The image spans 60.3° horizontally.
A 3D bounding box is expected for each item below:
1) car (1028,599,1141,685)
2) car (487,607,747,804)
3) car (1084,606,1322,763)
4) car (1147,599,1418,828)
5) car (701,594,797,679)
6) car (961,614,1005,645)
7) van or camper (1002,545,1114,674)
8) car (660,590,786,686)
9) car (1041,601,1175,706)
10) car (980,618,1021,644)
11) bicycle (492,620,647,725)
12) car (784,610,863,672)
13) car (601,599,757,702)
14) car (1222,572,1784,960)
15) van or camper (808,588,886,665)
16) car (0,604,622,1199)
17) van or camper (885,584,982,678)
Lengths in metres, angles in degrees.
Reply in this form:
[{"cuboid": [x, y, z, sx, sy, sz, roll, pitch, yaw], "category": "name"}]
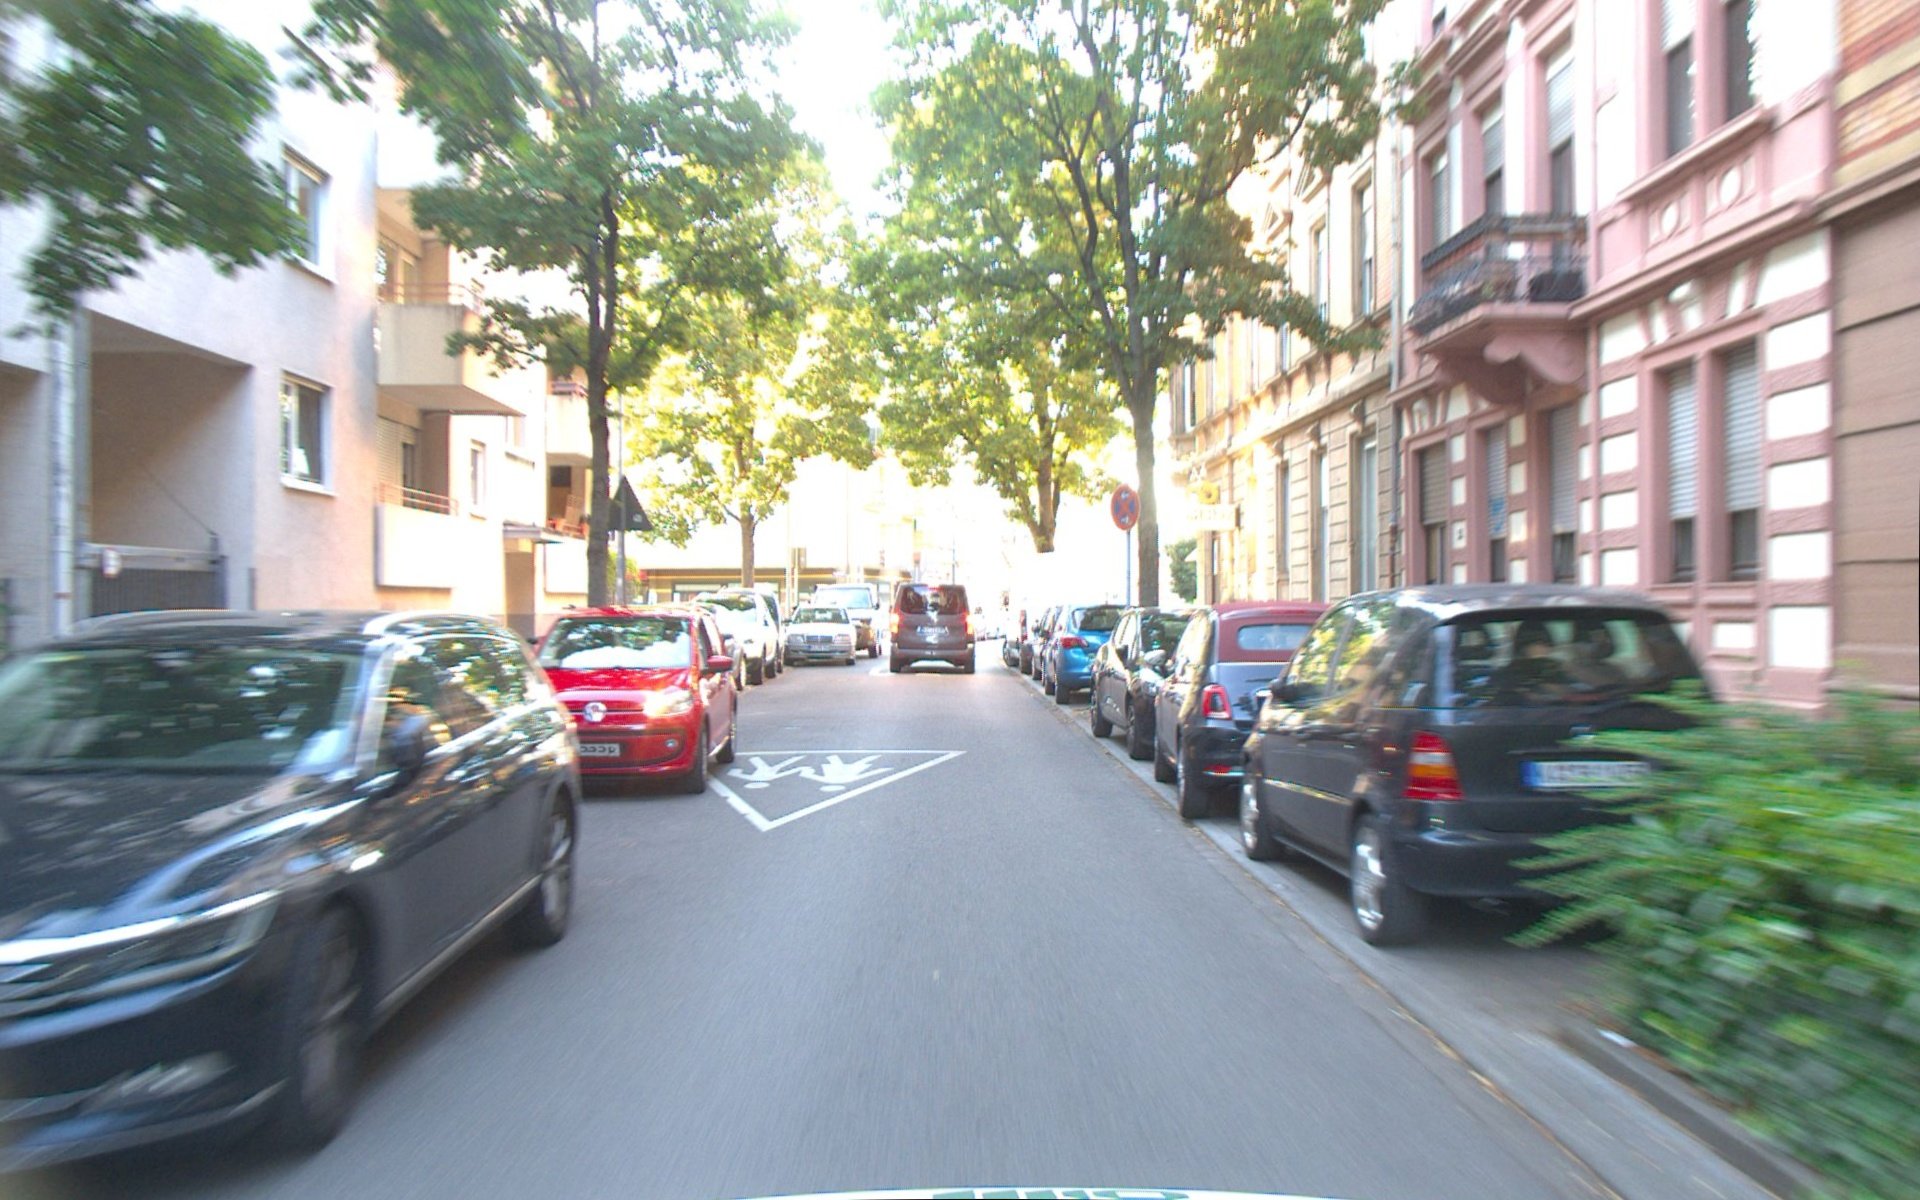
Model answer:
[{"cuboid": [2.272, 0.758, 31.038, 1.715, 1.497, 3.774, 1, 0, -2], "category": "car"}, {"cuboid": [-2.797, 0.804, 14.163, 1.597, 1.455, 3.541, 0, -1, -2], "category": "car"}, {"cuboid": [2.379, 0.788, 17.117, 1.681, 1.428, 3.810, 0, 0, -4], "category": "car"}, {"cuboid": [2.377, 0.781, 12.964, 1.519, 1.523, 3.611, 1, 0, 2], "category": "car"}, {"cuboid": [-4.642, 0.785, 36.776, 1.706, 1.742, 3.374, 2, 0, -1], "category": "car"}, {"cuboid": [1.253, 1.538, 88.517, 1.757, 1.606, 3.751, 0, -1, 11], "category": "car"}, {"cuboid": [2.094, 0.221, 36.766, 1.953, 2.644, 5.421, 1, -1, -2], "category": "van or camper"}, {"cuboid": [-4.495, 0.704, 31.954, 1.859, 1.665, 4.155, 2, 0, -1], "category": "car"}, {"cuboid": [2.226, 0.788, 25.780, 1.714, 1.497, 3.775, 0, 0, -1], "category": "car"}, {"cuboid": [2.334, 1.754, 94.154, 1.757, 1.445, 3.751, 0, -1, 11], "category": "car"}, {"cuboid": [-4.814, 0.886, 20.472, 0.595, 1.216, 1.817, 2, 0, 43], "category": "bicycle"}, {"cuboid": [-3.304, 0.971, 40.529, 1.706, 1.429, 3.374, 0, 0, -1], "category": "car"}, {"cuboid": [-4.522, 0.786, 27.117, 1.703, 1.510, 3.840, 2, 0, 2], "category": "car"}, {"cuboid": [2.563, 0.696, 8.761, 1.579, 1.586, 3.764, -1, 0, -3], "category": "car"}, {"cuboid": [-3.066, 0.703, 45.640, 1.824, 2.018, 4.270, 0, 0, 0], "category": "van or camper"}, {"cuboid": [-2.574, 0.767, 5.967, 1.809, 1.477, 4.501, 1, 0, -1], "category": "car"}, {"cuboid": [-0.520, 0.655, 36.556, 1.993, 1.931, 4.271, 1, 0, 1], "category": "van or camper"}]
